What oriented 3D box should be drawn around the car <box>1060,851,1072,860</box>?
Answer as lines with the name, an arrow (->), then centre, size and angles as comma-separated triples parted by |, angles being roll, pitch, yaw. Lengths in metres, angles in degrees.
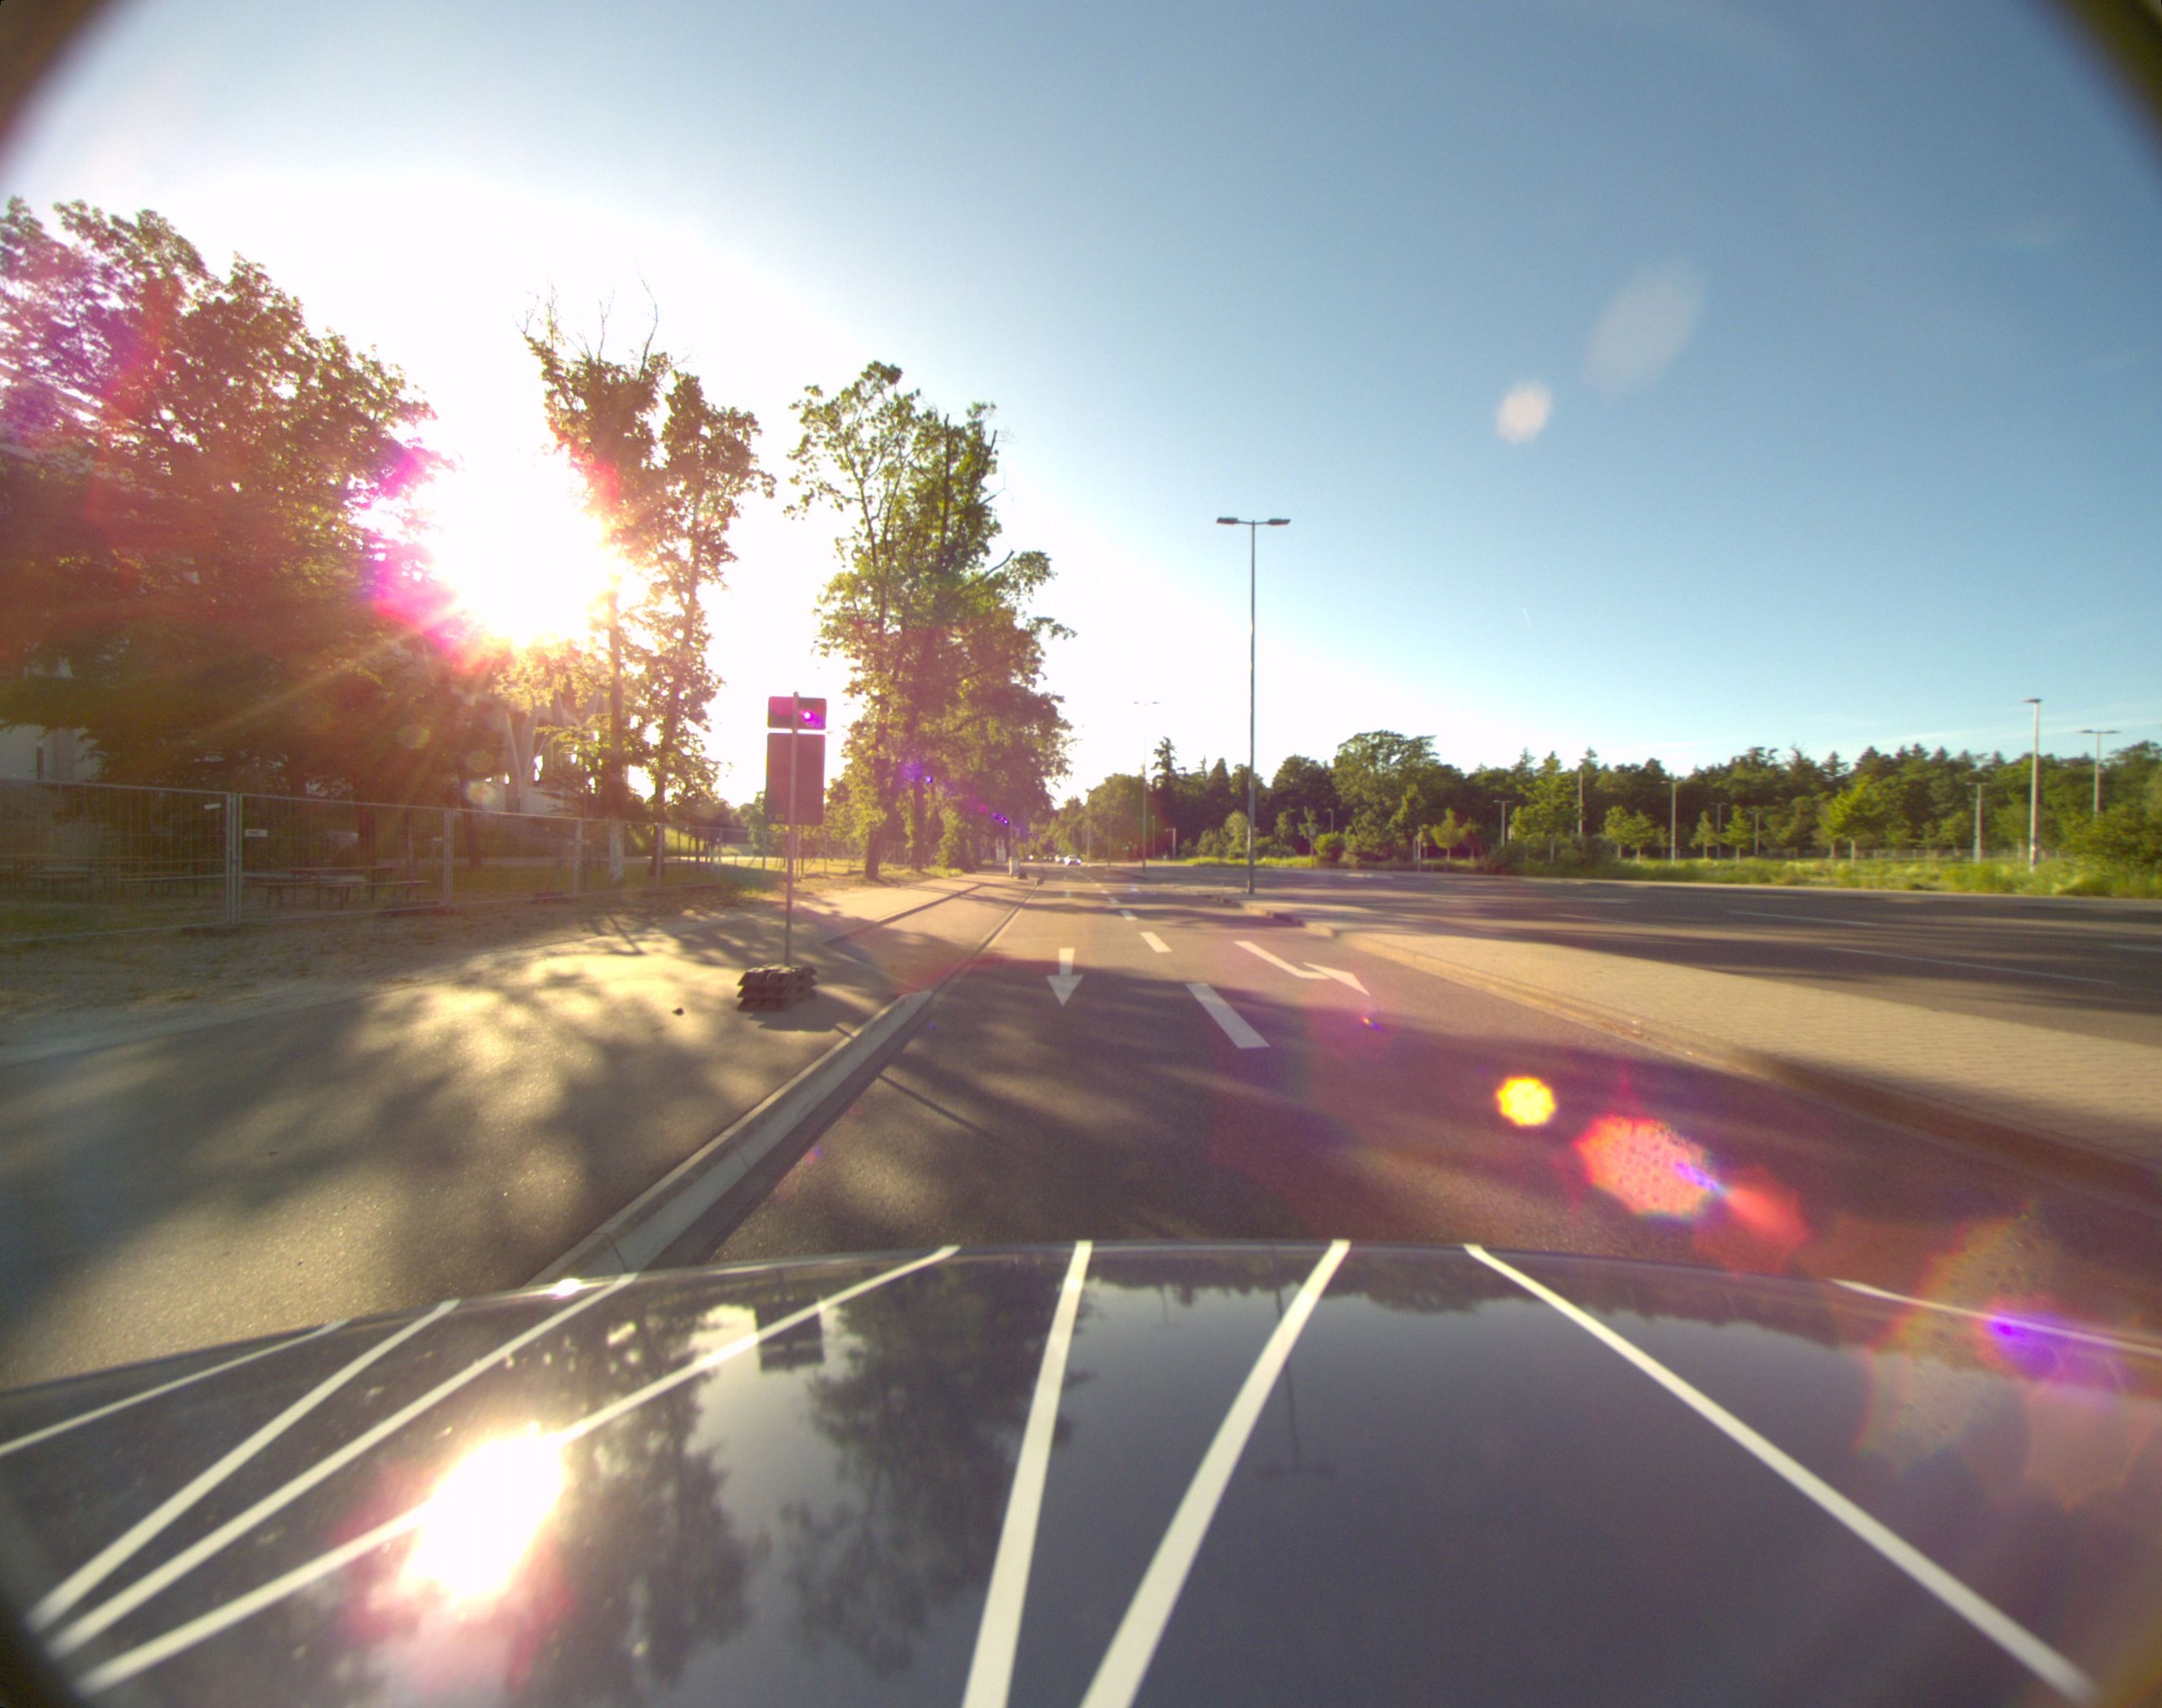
car -> -2.596, 0.255, 131.080 | 1.842, 1.395, 4.989 | -1, 0, -4

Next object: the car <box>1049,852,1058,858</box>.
car -> -5.880, 0.198, 162.862 | 1.842, 1.395, 4.989 | -1, 0, -4

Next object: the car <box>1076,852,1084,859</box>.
car -> -0.299, 0.413, 195.119 | 1.788, 1.682, 4.701 | -1, 0, -3

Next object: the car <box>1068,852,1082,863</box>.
car -> -0.842, 0.426, 104.435 | 1.841, 1.395, 3.999 | -1, 0, -2

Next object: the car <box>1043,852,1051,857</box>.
car -> -8.899, 0.145, 196.134 | 1.842, 1.395, 4.989 | -1, 0, -5
